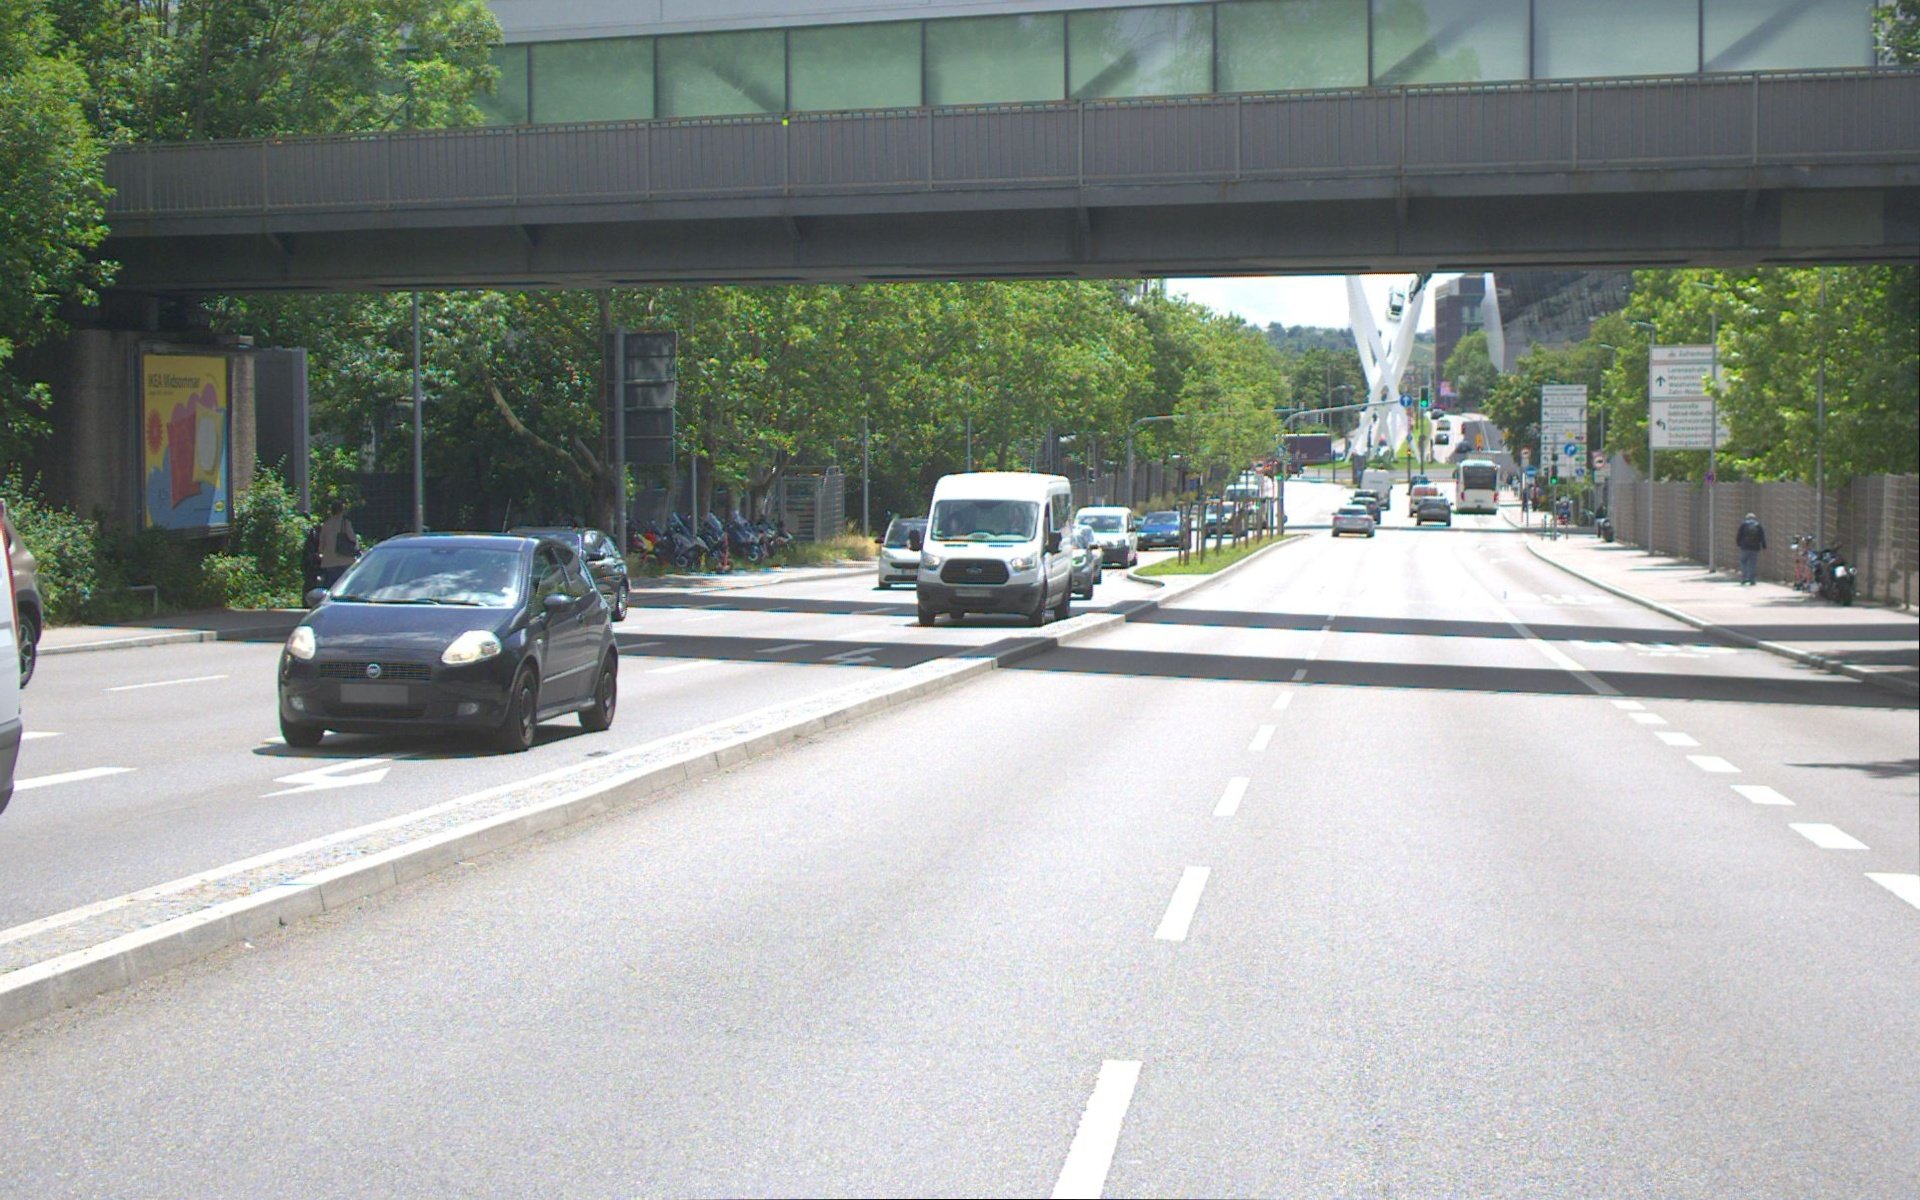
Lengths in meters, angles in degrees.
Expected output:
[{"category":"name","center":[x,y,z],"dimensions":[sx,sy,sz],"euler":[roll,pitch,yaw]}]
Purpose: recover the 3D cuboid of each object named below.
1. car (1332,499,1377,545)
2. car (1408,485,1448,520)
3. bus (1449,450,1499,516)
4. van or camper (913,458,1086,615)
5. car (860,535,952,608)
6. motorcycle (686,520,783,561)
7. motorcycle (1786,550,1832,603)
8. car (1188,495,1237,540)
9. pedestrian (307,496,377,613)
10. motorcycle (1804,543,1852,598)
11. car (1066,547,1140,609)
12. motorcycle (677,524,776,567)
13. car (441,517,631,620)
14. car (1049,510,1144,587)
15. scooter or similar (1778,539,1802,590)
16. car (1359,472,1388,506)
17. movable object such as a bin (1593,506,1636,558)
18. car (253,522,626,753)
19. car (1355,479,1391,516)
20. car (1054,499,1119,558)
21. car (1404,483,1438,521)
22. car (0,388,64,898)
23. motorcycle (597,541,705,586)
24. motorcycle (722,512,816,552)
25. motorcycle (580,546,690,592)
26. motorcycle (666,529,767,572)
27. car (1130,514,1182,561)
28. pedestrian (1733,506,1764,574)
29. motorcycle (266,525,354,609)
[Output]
[{"category":"car","center":[17.964,-3.556,156.374],"dimensions":[1.930,1.765,4.000],"euler":[1,5,8]},{"category":"car","center":[25.480,-5.291,187.224],"dimensions":[1.994,1.853,3.999],"euler":[1,1,6]},{"category":"bus","center":[33.436,-7.675,223.847],"dimensions":[2.797,3.739,9.469],"euler":[1,5,6]},{"category":"van or camper","center":[0.713,-1.036,55.919],"dimensions":[2.009,2.393,6.397],"euler":[1,1,8]},{"category":"car","center":[-1.187,-0.656,77.173],"dimensions":[1.701,1.545,3.924],"euler":[1,1,4]},{"category":"motorcycle","center":[-6.255,-1.655,95.406],"dimensions":[2.580,1.103,0.794],"euler":[1,1,19]},{"category":"motorcycle","center":[17.729,-0.498,71.826],"dimensions":[0.563,1.025,2.629],"euler":[-1,2,6]},{"category":"car","center":[11.559,-3.772,157.267],"dimensions":[1.994,2.007,3.999],"euler":[1,2,7]},{"category":"pedestrian","center":[-9.110,-0.675,50.699],"dimensions":[0.724,1.617,0.720],"euler":[5,5,6]},{"category":"motorcycle","center":[17.383,-0.608,68.900],"dimensions":[0.563,1.025,2.629],"euler":[-1,2,6]},{"category":"car","center":[3.542,-0.555,84.836],"dimensions":[1.701,1.431,3.924],"euler":[1,1,4]},{"category":"motorcycle","center":[-6.355,-1.487,93.645],"dimensions":[2.580,1.103,0.794],"euler":[1,1,19]},{"category":"car","center":[-6.326,-0.473,51.821],"dimensions":[1.731,1.451,4.557],"euler":[1,1,7]},{"category":"car","center":[2.848,-1.079,71.149],"dimensions":[1.701,1.516,3.073],"euler":[1,1,7]},{"category":"scooter or similar","center":[19.022,-0.817,78.778],"dimensions":[0.368,1.173,1.133],"euler":[1,1,6]},{"category":"car","center":[27.471,-7.358,228.300],"dimensions":[1.874,2.006,3.693],"euler":[1,5,6]},{"category":"movable object such as a bin","center":[26.928,-2.795,141.482],"dimensions":[1.665,2.125,1.277],"euler":[1,1,12]},{"category":"car","center":[-3.597,0.199,24.382],"dimensions":[1.637,1.466,3.775],"euler":[1,2,7]},{"category":"car","center":[22.562,-5.626,187.870],"dimensions":[1.858,1.699,4.001],"euler":[0,7,6]},{"category":"car","center":[3.771,-2.118,101.741],"dimensions":[1.701,1.692,3.924],"euler":[1,1,5]},{"category":"car","center":[28.166,-5.989,209.960],"dimensions":[1.994,2.006,4.000],"euler":[1,5,9]},{"category":"car","center":[-4.768,0.192,11.276],"dimensions":[1.878,1.918,4.749],"euler":[1,2,7]},{"category":"motorcycle","center":[-7.590,-0.893,84.540],"dimensions":[2.553,1.047,0.674],"euler":[1,1,13]},{"category":"motorcycle","center":[-5.464,-1.941,98.388],"dimensions":[2.580,1.103,0.794],"euler":[1,1,19]},{"category":"motorcycle","center":[-7.885,-0.759,83.389],"dimensions":[2.553,1.047,0.674],"euler":[1,1,13]},{"category":"motorcycle","center":[-6.501,-1.319,91.886],"dimensions":[2.580,1.103,0.794],"euler":[1,1,19]},{"category":"car","center":[7.334,-2.354,128.410],"dimensions":[1.701,1.692,3.923],"euler":[1,1,6]},{"category":"pedestrian","center":[19.404,-1.484,84.571],"dimensions":[0.621,1.612,0.747],"euler":[0,5,6]},{"category":"motorcycle","center":[-9.904,-0.493,52.430],"dimensions":[0.687,1.206,2.072],"euler":[3,-1,6]}]
